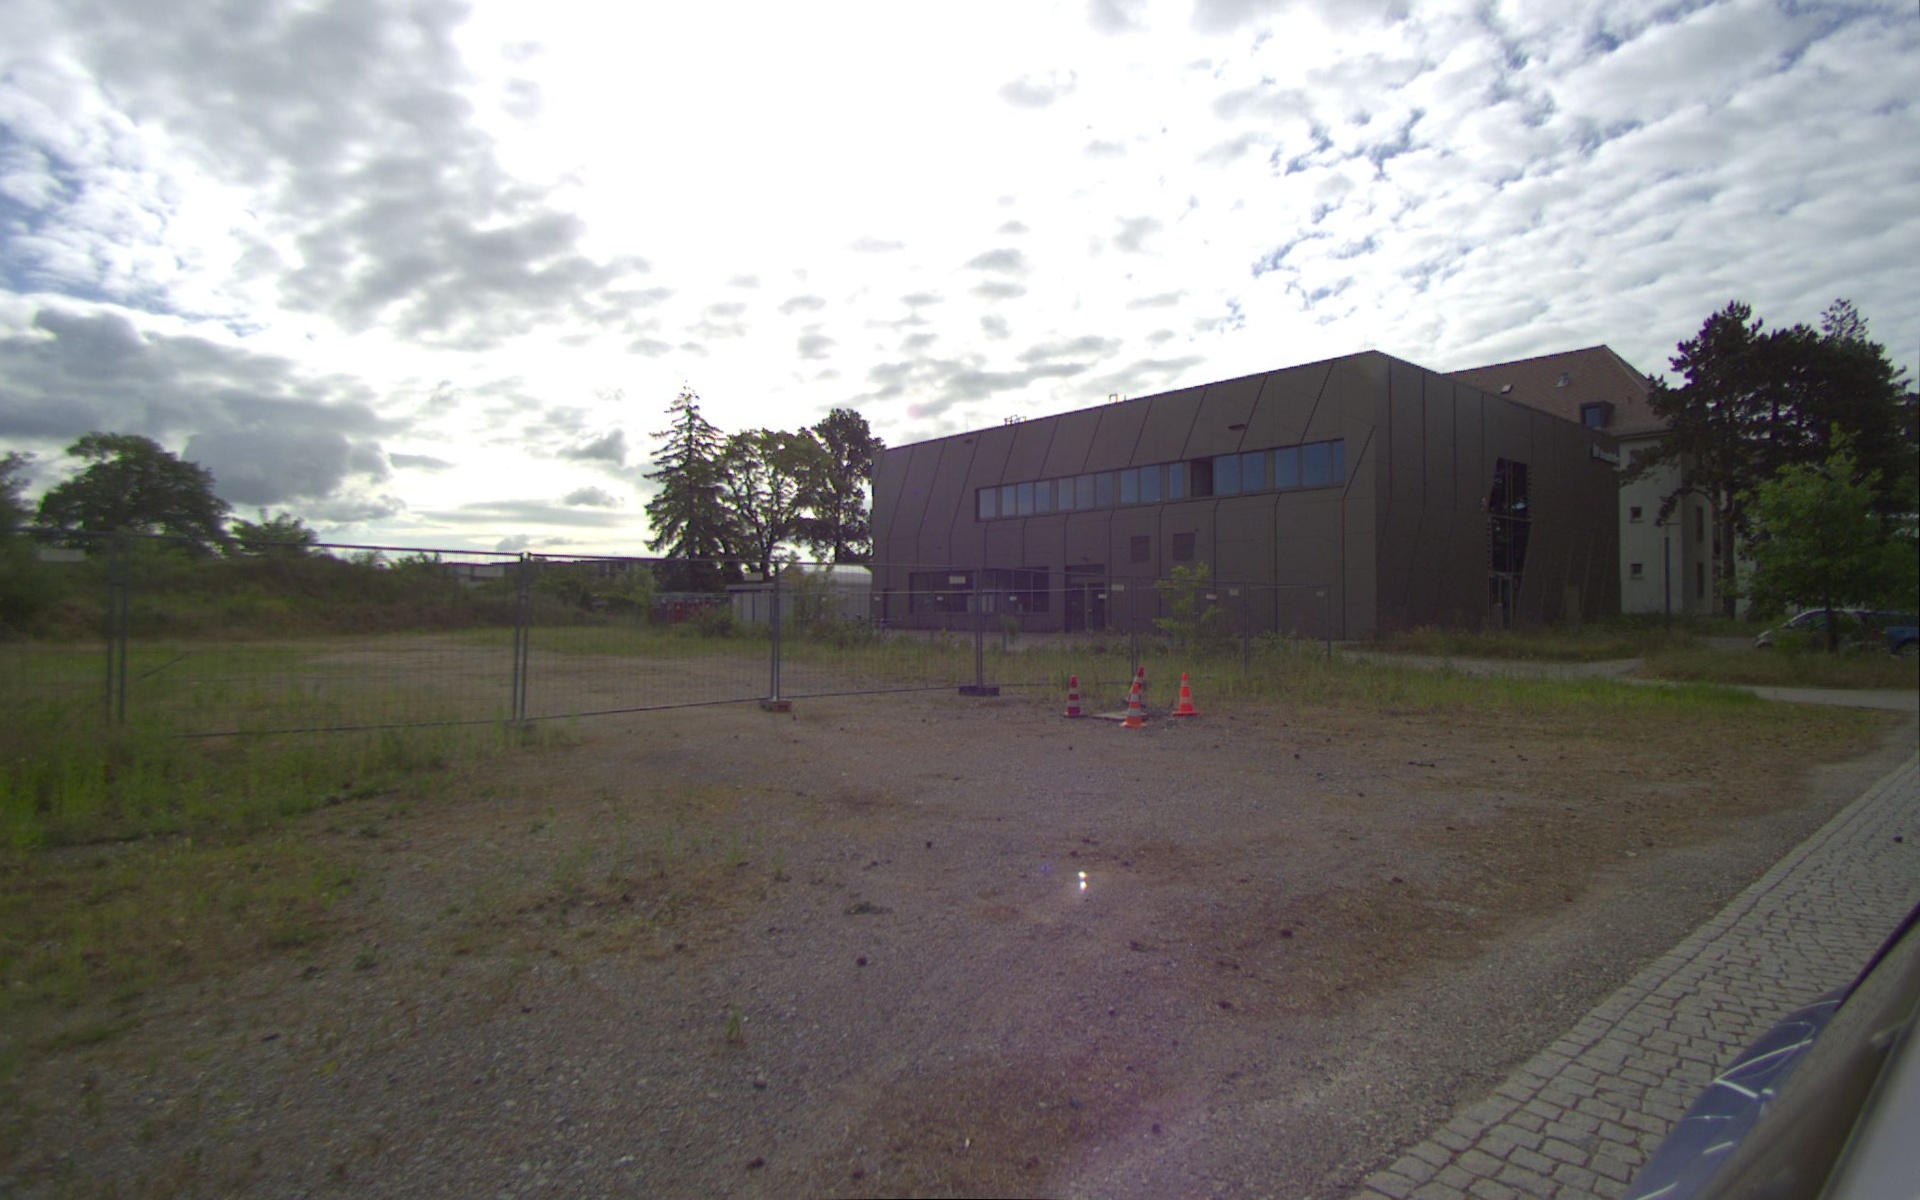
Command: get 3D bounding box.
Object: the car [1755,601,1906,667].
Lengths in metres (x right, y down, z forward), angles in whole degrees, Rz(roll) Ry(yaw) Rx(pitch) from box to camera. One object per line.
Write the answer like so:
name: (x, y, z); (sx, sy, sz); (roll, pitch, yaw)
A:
car: (22.527, 0.830, 26.223); (1.623, 1.576, 2.716); (1, 1, -39)

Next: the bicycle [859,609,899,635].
bicycle: (-3.443, 0.926, 43.073); (1.624, 1.099, 0.512); (0, -1, -32)

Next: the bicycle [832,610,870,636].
bicycle: (-4.836, 1.018, 44.867); (1.624, 1.099, 0.512); (0, -1, -32)

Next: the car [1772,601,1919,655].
car: (27.913, 0.846, 31.019); (1.800, 1.494, 4.496); (0, 1, -43)
